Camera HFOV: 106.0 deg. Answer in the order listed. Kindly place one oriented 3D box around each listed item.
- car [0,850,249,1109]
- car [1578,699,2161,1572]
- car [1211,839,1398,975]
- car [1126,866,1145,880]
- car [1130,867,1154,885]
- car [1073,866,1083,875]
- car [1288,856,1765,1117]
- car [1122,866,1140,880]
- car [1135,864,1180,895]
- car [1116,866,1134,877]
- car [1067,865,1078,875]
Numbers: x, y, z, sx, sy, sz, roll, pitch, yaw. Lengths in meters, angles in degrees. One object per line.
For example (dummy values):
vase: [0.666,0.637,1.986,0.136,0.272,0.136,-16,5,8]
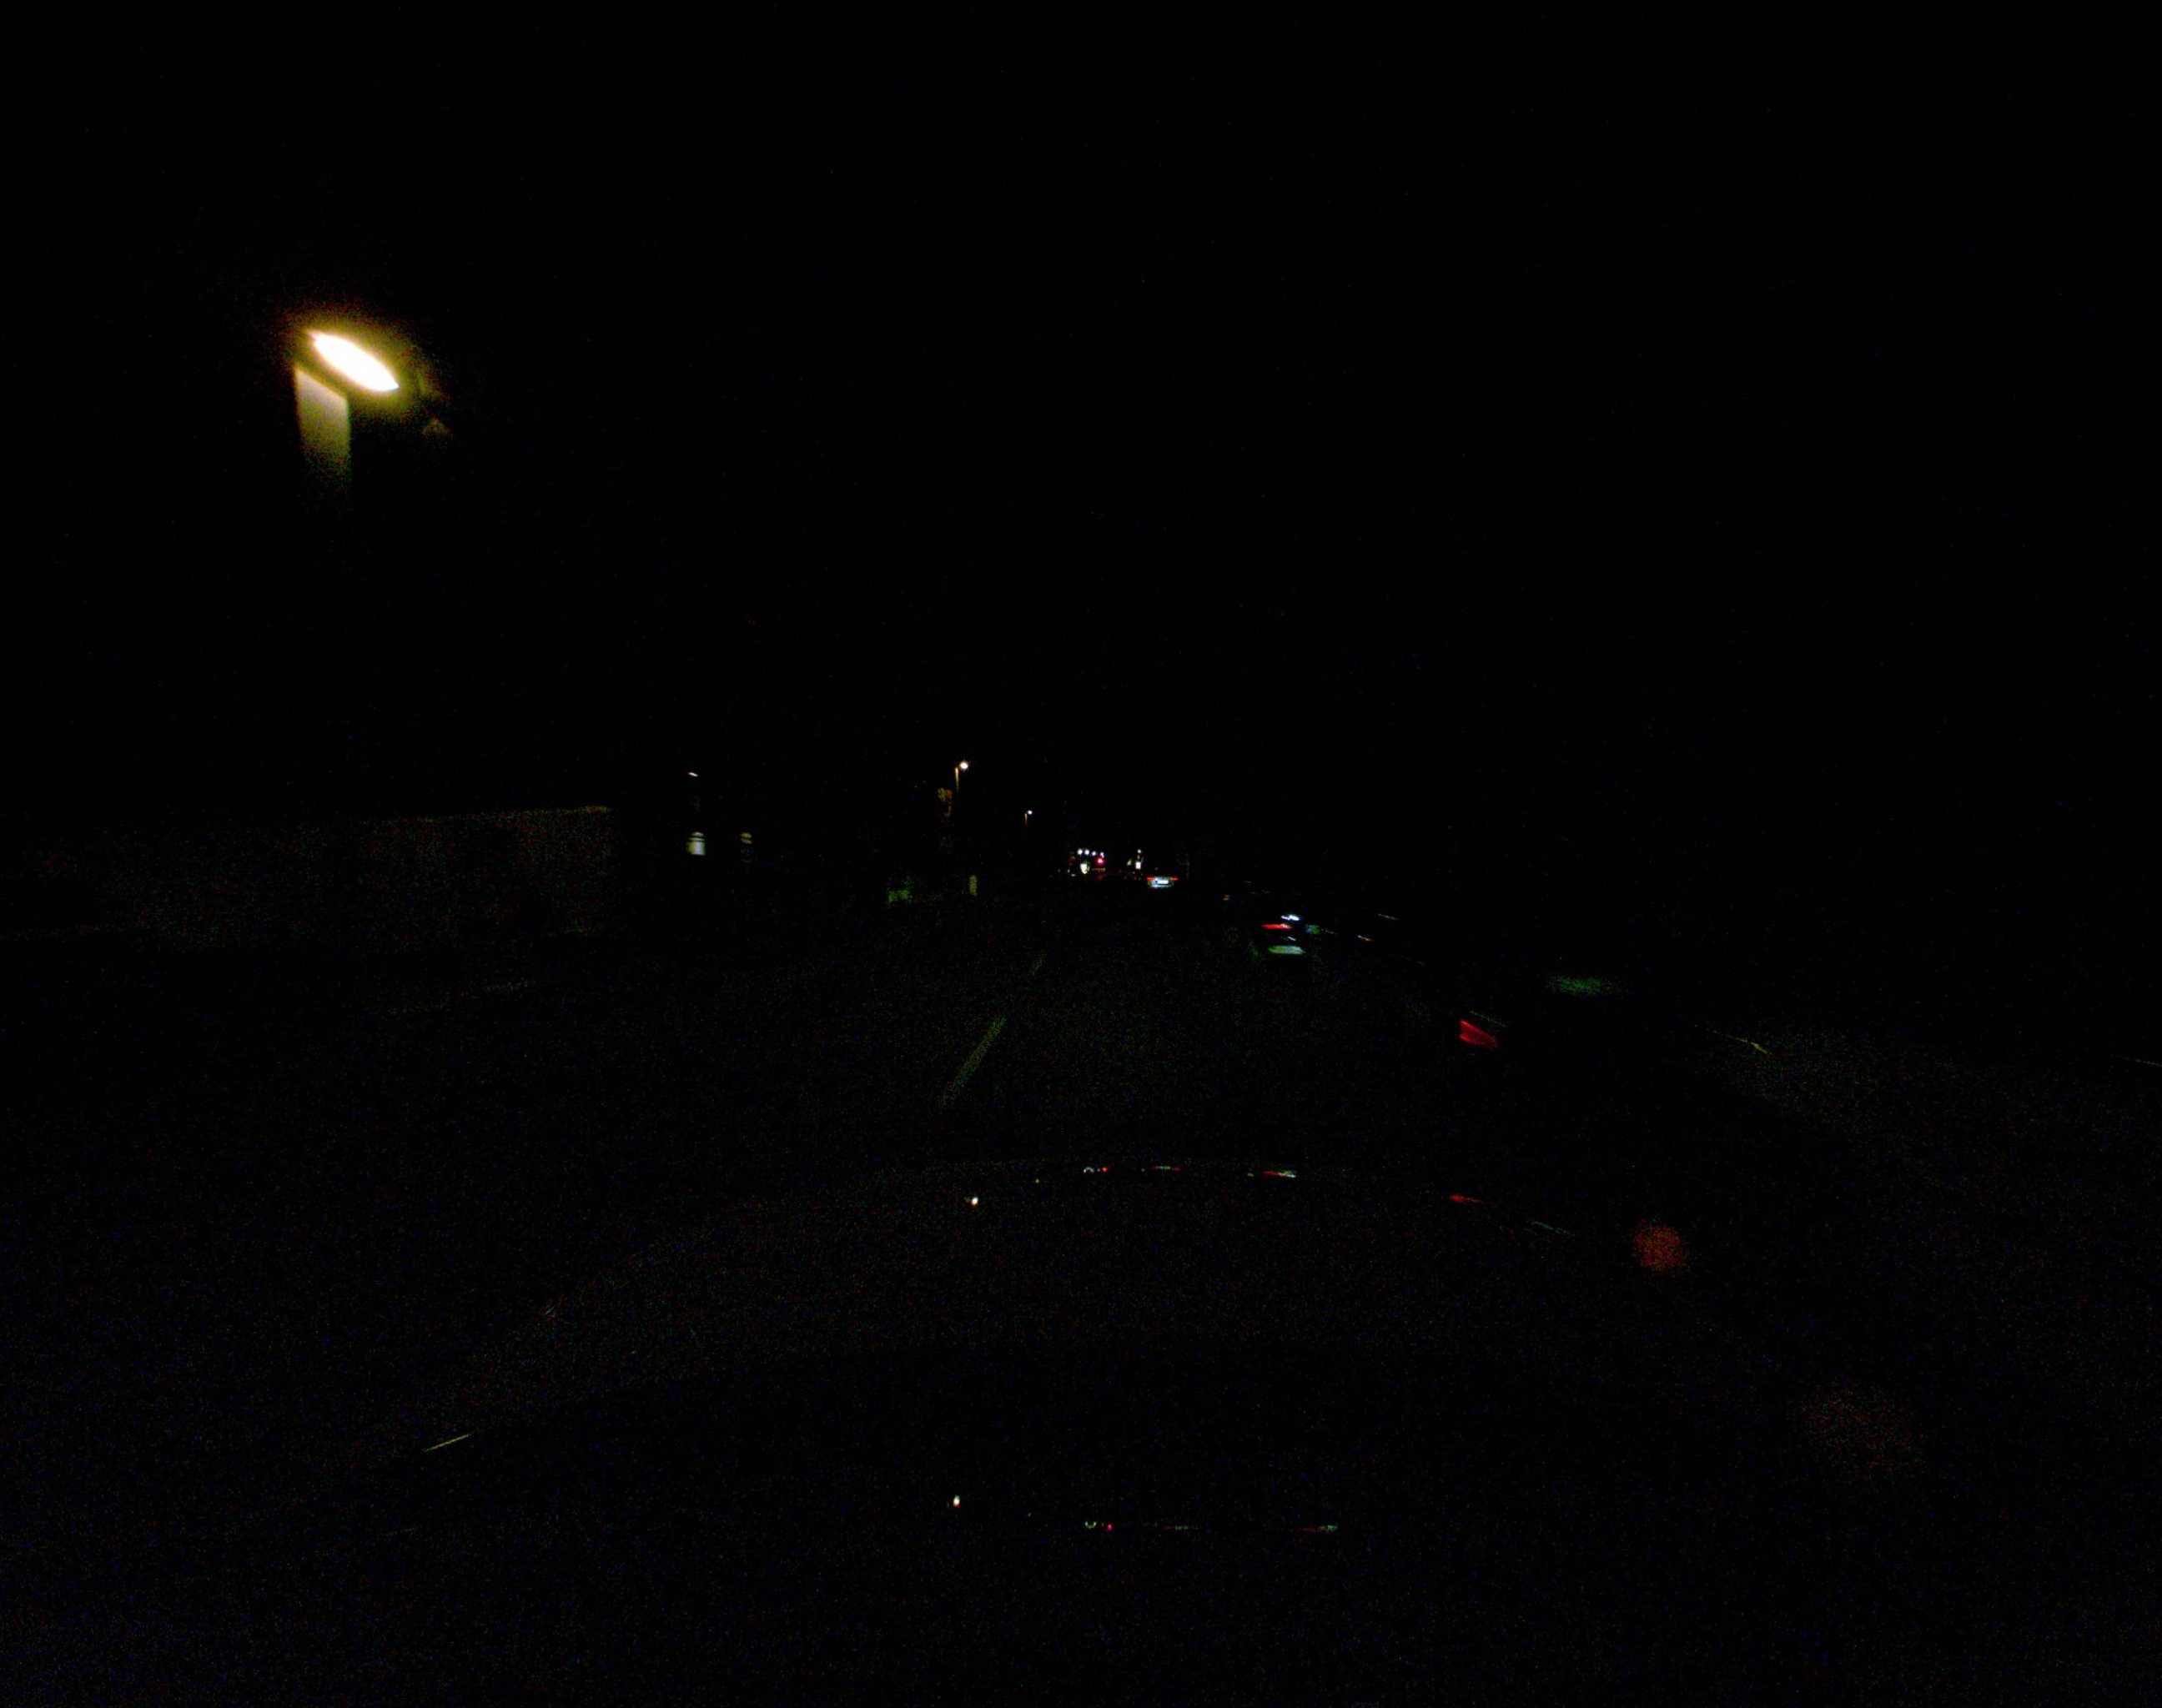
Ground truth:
car: [-8.491,0.802,5.454,3.797,1.555,1.928,-1,1,1]
car: [3.017,0.565,1.291,1.712,1.761,4.761,0,0,2]
car: [3.136,0.688,12.411,1.824,1.664,4.623,-1,-1,4]
car: [5.706,1.974,84.923,1.859,1.403,4.006,0,-1,6]
car: [4.882,1.744,65.420,1.624,1.439,3.864,-1,-1,0]
car: [-0.569,2.950,149.058,1.747,1.539,3.730,-2,-1,0]
car: [3.086,0.758,6.784,1.737,1.471,4.257,0,0,1]
car: [5.529,2.053,89.775,1.677,1.448,3.998,0,-1,-1]
car: [3.896,1.283,41.992,1.758,1.476,4.272,0,-1,-2]
car: [5.657,2.228,105.029,1.679,1.448,3.993,0,-1,-5]
car: [-1.401,2.659,131.945,1.748,1.539,3.728,-2,-1,-2]
